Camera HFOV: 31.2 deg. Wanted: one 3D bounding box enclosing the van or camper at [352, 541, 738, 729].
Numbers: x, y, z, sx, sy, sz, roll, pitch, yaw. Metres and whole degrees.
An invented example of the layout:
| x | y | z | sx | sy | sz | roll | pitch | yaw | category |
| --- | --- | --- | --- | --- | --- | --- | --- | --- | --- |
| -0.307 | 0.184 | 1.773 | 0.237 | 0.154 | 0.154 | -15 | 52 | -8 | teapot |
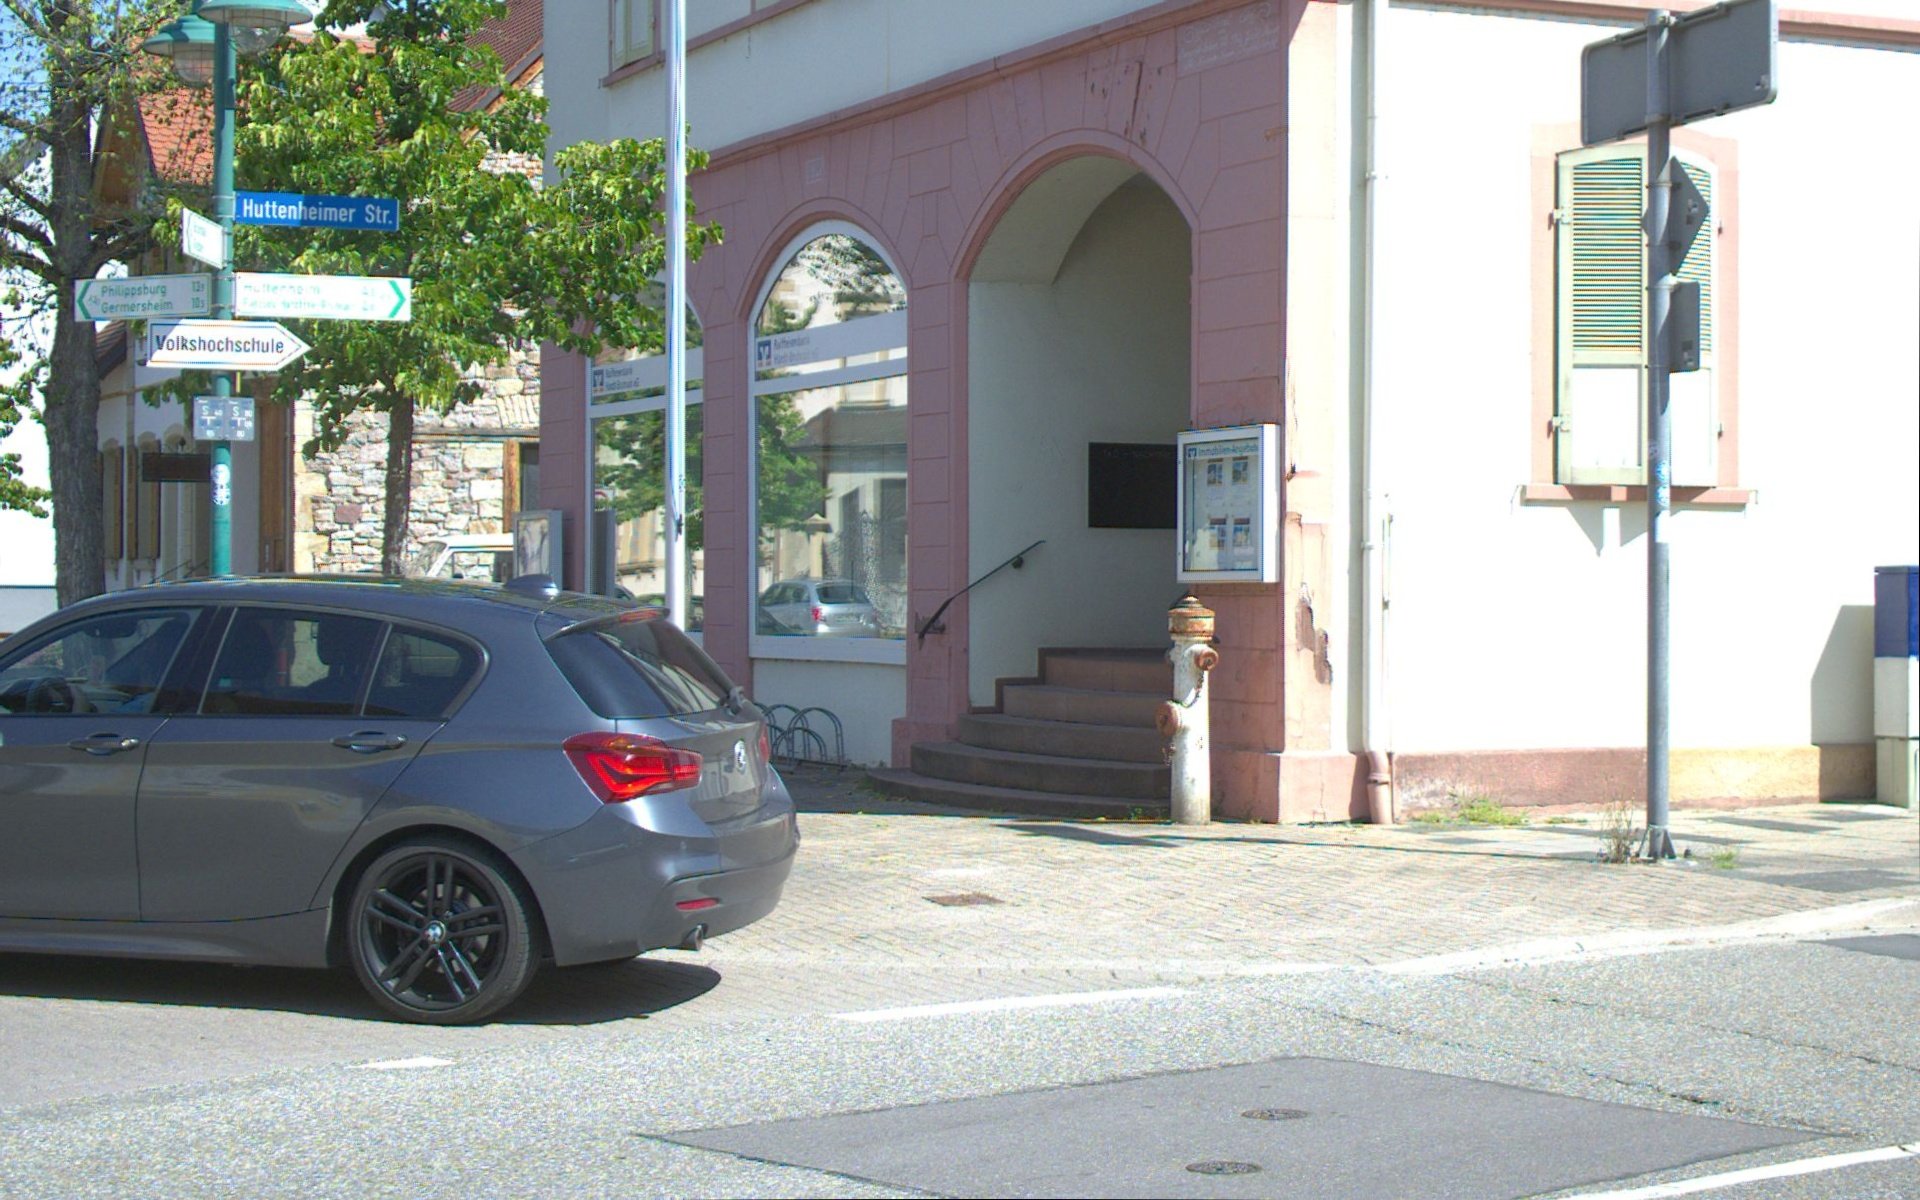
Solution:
| x | y | z | sx | sy | sz | roll | pitch | yaw | category |
| --- | --- | --- | --- | --- | --- | --- | --- | --- | --- |
| -4.632 | 0.354 | 38.135 | 3.986 | 2.007 | 2.001 | 0 | 1 | -16 | van or camper |

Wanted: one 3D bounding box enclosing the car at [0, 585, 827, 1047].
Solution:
| x | y | z | sx | sy | sz | roll | pitch | yaw | category |
| --- | --- | --- | --- | --- | --- | --- | --- | --- | --- |
| -2.752 | 0.659 | 12.014 | 4.257 | 1.371 | 1.741 | 1 | 0 | 11 | car |
